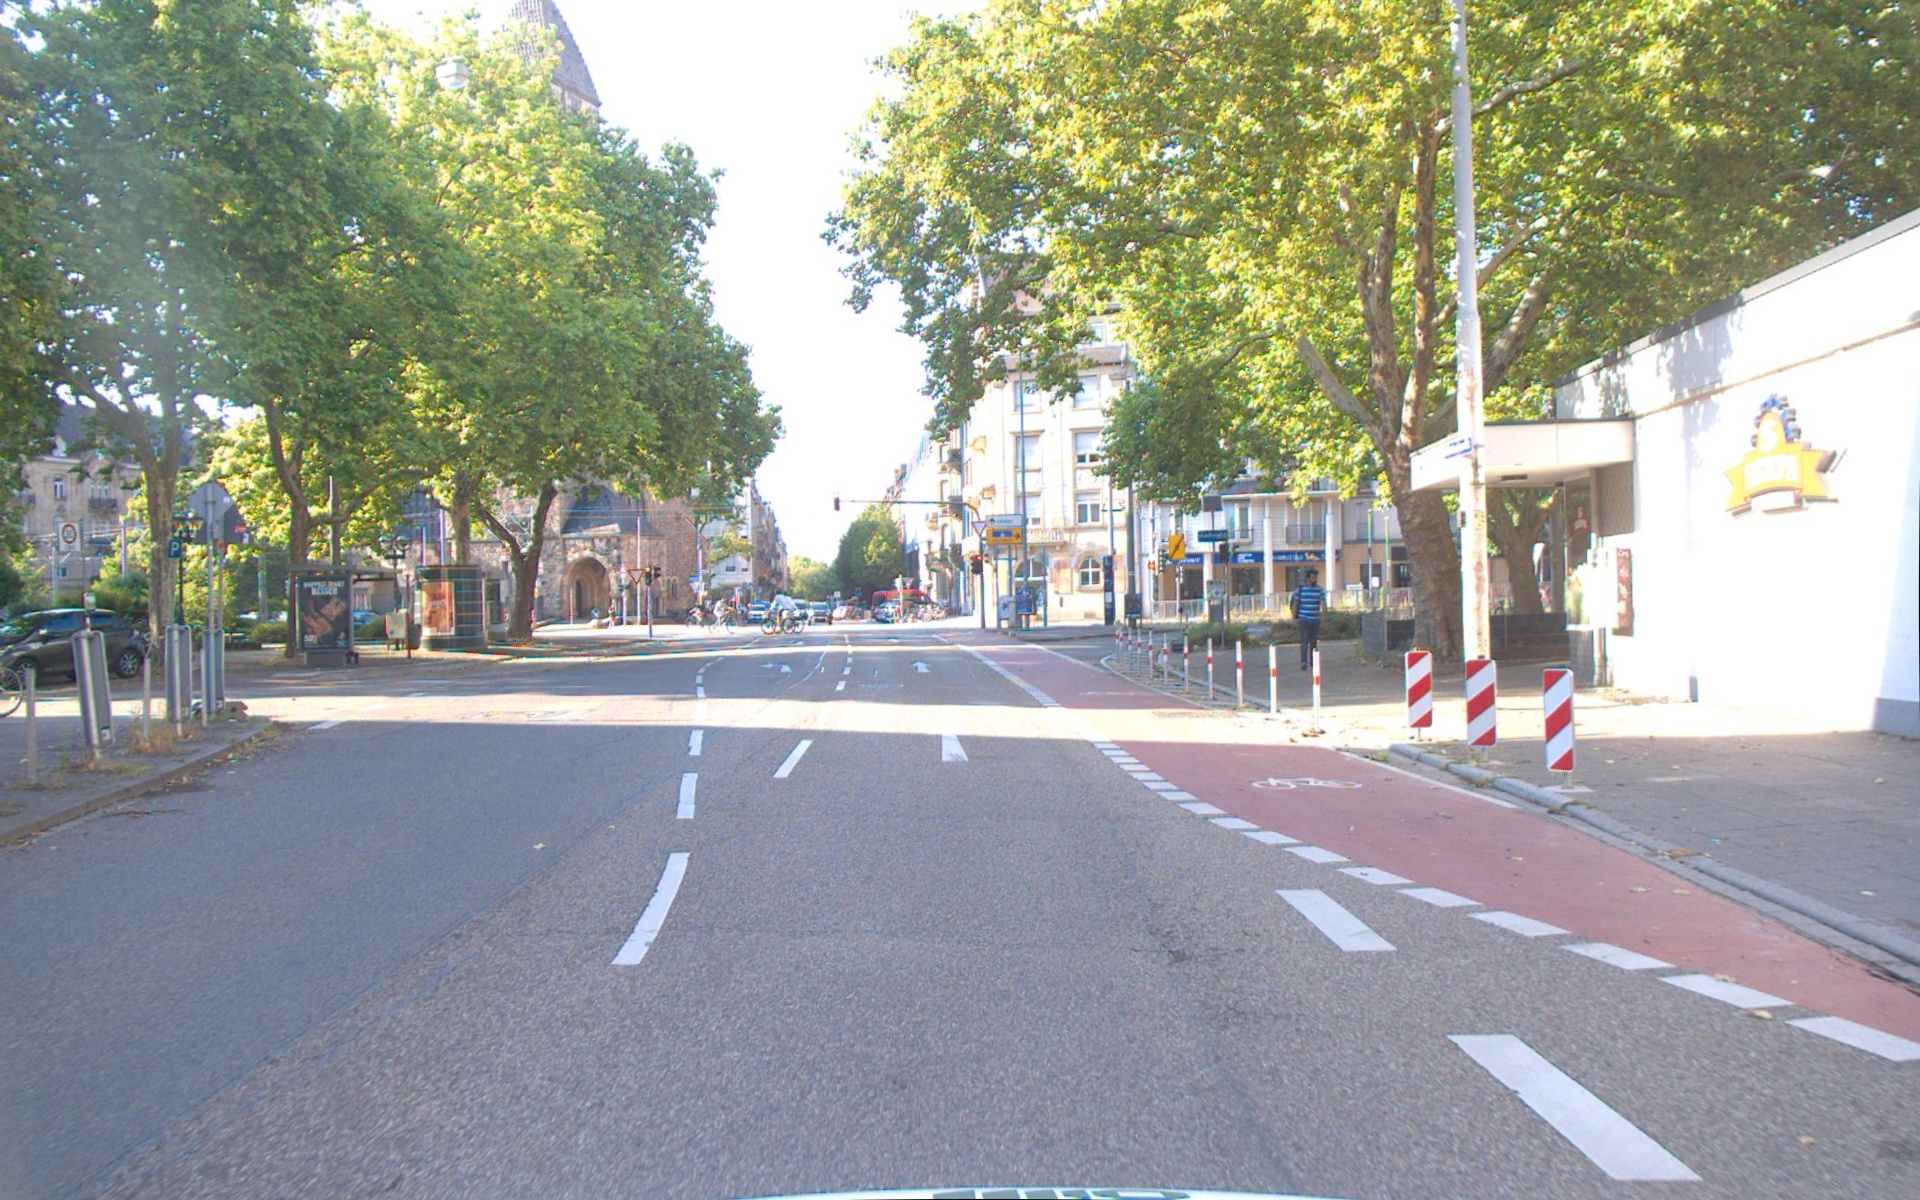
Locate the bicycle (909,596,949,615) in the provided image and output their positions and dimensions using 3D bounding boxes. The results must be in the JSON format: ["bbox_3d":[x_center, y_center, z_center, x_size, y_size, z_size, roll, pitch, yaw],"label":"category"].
[{"bbox_3d":[-2.187,0.398,115.862,2.750,1.224,0.509,1,2,-8],"label":"bicycle"}]

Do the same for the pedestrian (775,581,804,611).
[{"bbox_3d":[-7.442,-0.161,72.143,1.026,1.300,0.792,0,-1,19],"label":"pedestrian"}]

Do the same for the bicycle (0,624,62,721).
[{"bbox_3d":[-13.464,0.968,22.023,0.990,1.286,2.476,0,-1,33],"label":"bicycle"}]

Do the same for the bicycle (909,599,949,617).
[{"bbox_3d":[-2.175,0.568,115.127,2.750,1.225,0.516,1,-1,-8],"label":"bicycle"}]

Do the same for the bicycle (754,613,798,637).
[{"bbox_3d":[-7.871,1.083,70.840,1.746,0.999,0.657,0,-1,17],"label":"bicycle"}]

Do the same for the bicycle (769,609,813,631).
[{"bbox_3d":[-7.355,0.869,72.124,1.744,0.911,0.751,-1,0,19],"label":"bicycle"}]

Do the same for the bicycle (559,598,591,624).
[{"bbox_3d":[-26.731,0.789,114.847,1.259,1.780,4.000,1,-1,0],"label":"bicycle"}]

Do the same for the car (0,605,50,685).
[{"bbox_3d":[-21.713,1.028,35.593,1.834,1.646,4.003,-1,2,3],"label":"car"}]

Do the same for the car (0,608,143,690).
[{"bbox_3d":[-18.977,0.976,34.136,1.713,1.544,3.652,-1,0,17],"label":"car"}]

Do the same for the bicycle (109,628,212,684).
[{"bbox_3d":[-17.570,1.197,36.470,0.703,1.165,3.291,1,-1,-1],"label":"bicycle"}]

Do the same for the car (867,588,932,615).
[{"bbox_3d":[-4.875,0.160,133.673,4.956,2.049,2.135,2,-1,-40],"label":"car"}]

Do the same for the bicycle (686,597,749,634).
[{"bbox_3d":[-11.398,0.746,77.850,2.781,1.685,0.831,1,-1,7],"label":"bicycle"}]

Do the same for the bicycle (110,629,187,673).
[{"bbox_3d":[-19.539,1.211,39.881,0.538,1.010,2.218,1,-1,6],"label":"bicycle"}]

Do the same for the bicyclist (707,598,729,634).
[{"bbox_3d":[-11.381,0.761,77.887,0.785,1.685,0.935,1,-1,7],"label":"bicyclist"}]

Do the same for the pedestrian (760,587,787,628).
[{"bbox_3d":[-7.986,0.328,70.877,0.970,1.738,0.628,0,-1,17],"label":"pedestrian"}]

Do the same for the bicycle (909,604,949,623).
[{"bbox_3d":[-2.122,0.932,113.518,2.750,1.225,0.509,1,-1,-8],"label":"bicycle"}]

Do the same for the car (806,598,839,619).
[{"bbox_3d":[-10.182,0.644,122.539,1.553,1.488,3.186,1,-1,13],"label":"car"}]

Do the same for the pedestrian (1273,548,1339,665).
[{"bbox_3d":[6.320,0.125,30.269,0.810,2.048,1.152,-4,-1,-1],"label":"pedestrian"}]

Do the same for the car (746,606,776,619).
[{"bbox_3d":[-17.823,1.124,148.276,1.560,1.164,3.386,1,-1,14],"label":"car"}]

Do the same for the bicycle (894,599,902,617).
[{"bbox_3d":[-4.371,0.580,116.575,0.498,1.225,2.090,1,-1,-2],"label":"bicycle"}]
